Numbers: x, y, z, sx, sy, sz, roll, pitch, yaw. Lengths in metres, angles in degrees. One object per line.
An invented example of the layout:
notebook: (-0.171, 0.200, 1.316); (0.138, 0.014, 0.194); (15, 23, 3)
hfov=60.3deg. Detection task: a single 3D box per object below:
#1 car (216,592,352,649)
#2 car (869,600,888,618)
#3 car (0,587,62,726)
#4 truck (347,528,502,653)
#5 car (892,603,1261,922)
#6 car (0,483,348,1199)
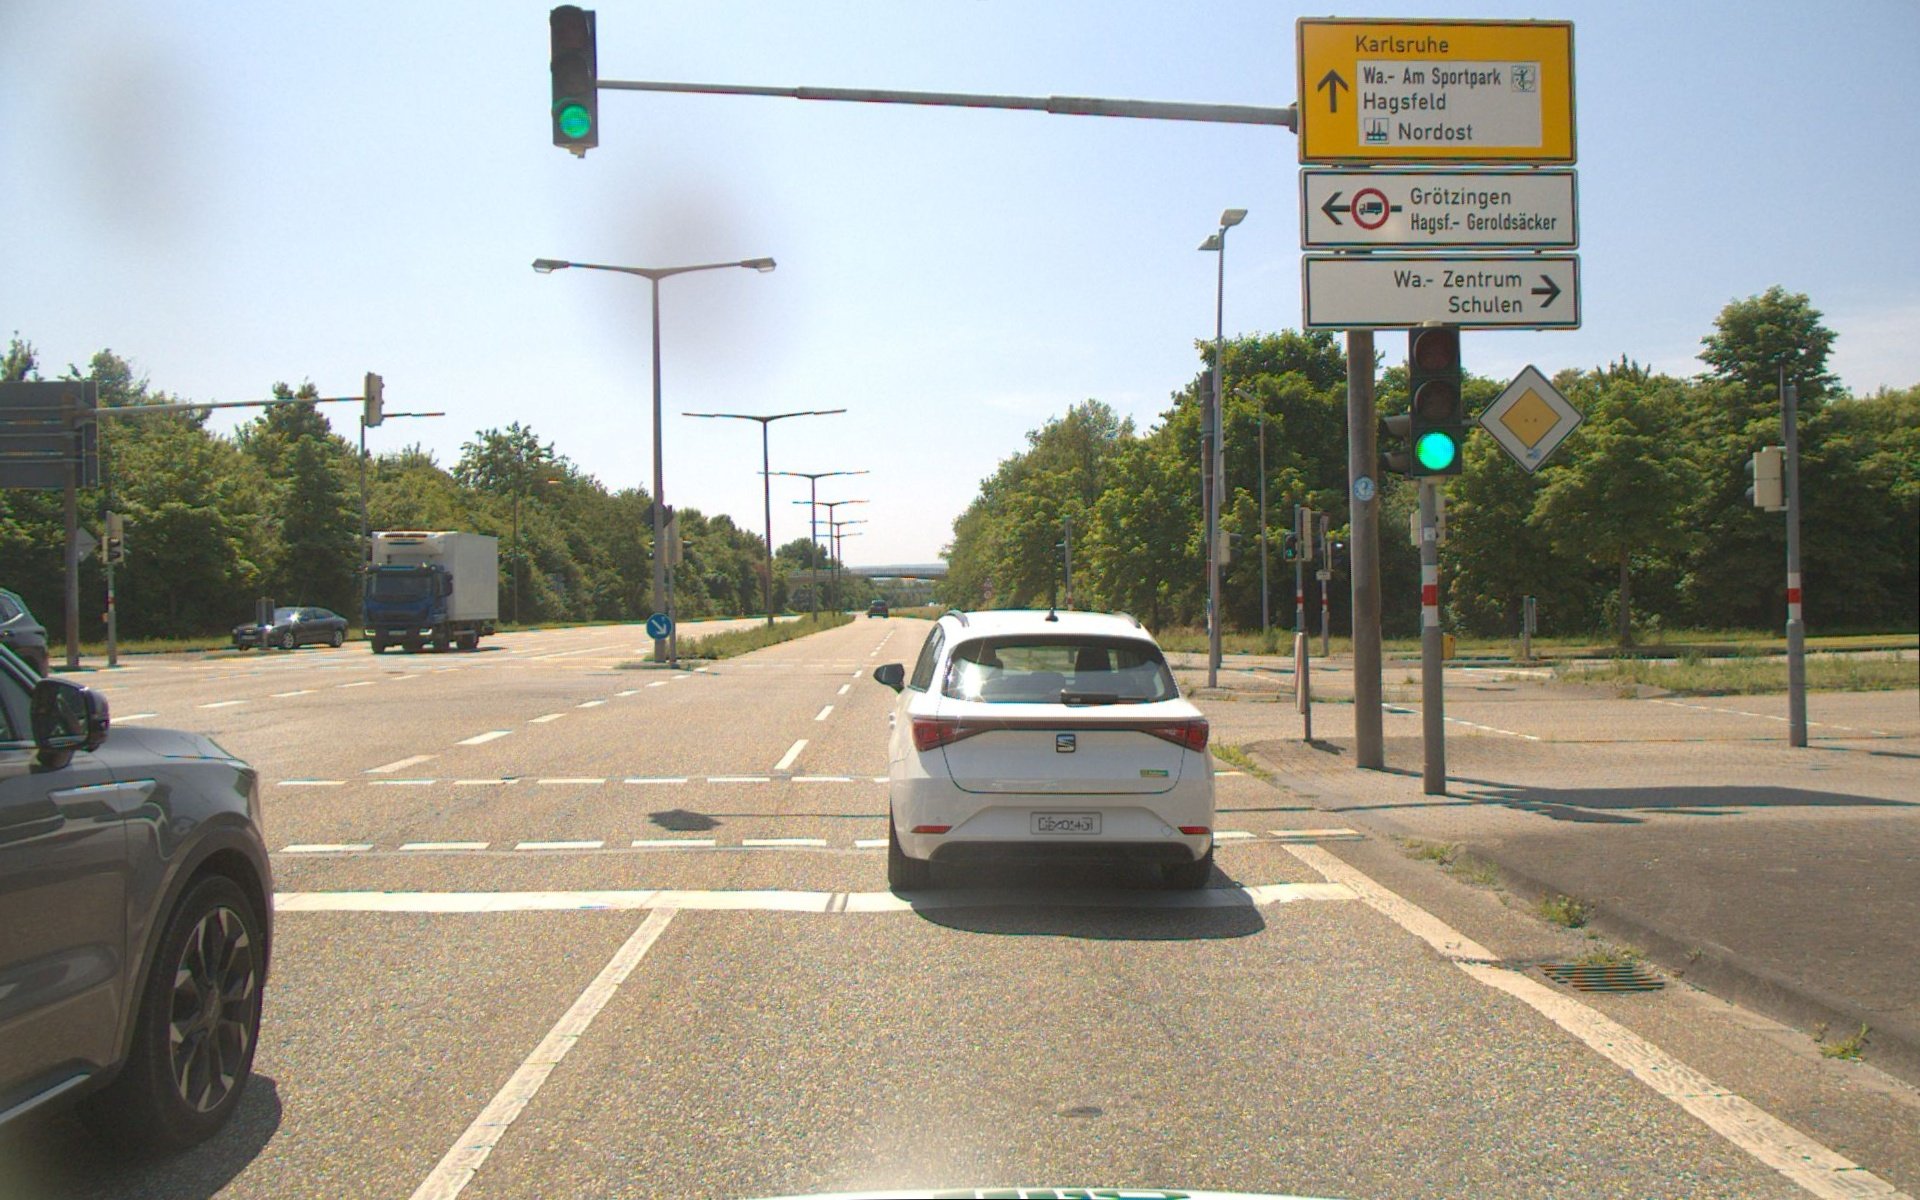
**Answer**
car: (-22.159, 0.631, 54.438); (1.783, 1.762, 4.930); (-1, 0, 10)
car: (-8.764, 0.963, 178.444); (1.817, 1.738, 3.999); (-2, 0, -1)
car: (-12.581, 0.707, 19.530); (1.672, 1.692, 4.222); (-1, 0, -1)
truck: (-16.536, -0.282, 51.624); (2.633, 3.633, 7.265); (0, 0, -2)
car: (0.510, 0.779, 9.520); (1.699, 1.453, 3.693); (1, -1, -1)
car: (-2.841, 0.615, 3.042); (1.767, 1.691, 4.643); (-1, 0, -1)
